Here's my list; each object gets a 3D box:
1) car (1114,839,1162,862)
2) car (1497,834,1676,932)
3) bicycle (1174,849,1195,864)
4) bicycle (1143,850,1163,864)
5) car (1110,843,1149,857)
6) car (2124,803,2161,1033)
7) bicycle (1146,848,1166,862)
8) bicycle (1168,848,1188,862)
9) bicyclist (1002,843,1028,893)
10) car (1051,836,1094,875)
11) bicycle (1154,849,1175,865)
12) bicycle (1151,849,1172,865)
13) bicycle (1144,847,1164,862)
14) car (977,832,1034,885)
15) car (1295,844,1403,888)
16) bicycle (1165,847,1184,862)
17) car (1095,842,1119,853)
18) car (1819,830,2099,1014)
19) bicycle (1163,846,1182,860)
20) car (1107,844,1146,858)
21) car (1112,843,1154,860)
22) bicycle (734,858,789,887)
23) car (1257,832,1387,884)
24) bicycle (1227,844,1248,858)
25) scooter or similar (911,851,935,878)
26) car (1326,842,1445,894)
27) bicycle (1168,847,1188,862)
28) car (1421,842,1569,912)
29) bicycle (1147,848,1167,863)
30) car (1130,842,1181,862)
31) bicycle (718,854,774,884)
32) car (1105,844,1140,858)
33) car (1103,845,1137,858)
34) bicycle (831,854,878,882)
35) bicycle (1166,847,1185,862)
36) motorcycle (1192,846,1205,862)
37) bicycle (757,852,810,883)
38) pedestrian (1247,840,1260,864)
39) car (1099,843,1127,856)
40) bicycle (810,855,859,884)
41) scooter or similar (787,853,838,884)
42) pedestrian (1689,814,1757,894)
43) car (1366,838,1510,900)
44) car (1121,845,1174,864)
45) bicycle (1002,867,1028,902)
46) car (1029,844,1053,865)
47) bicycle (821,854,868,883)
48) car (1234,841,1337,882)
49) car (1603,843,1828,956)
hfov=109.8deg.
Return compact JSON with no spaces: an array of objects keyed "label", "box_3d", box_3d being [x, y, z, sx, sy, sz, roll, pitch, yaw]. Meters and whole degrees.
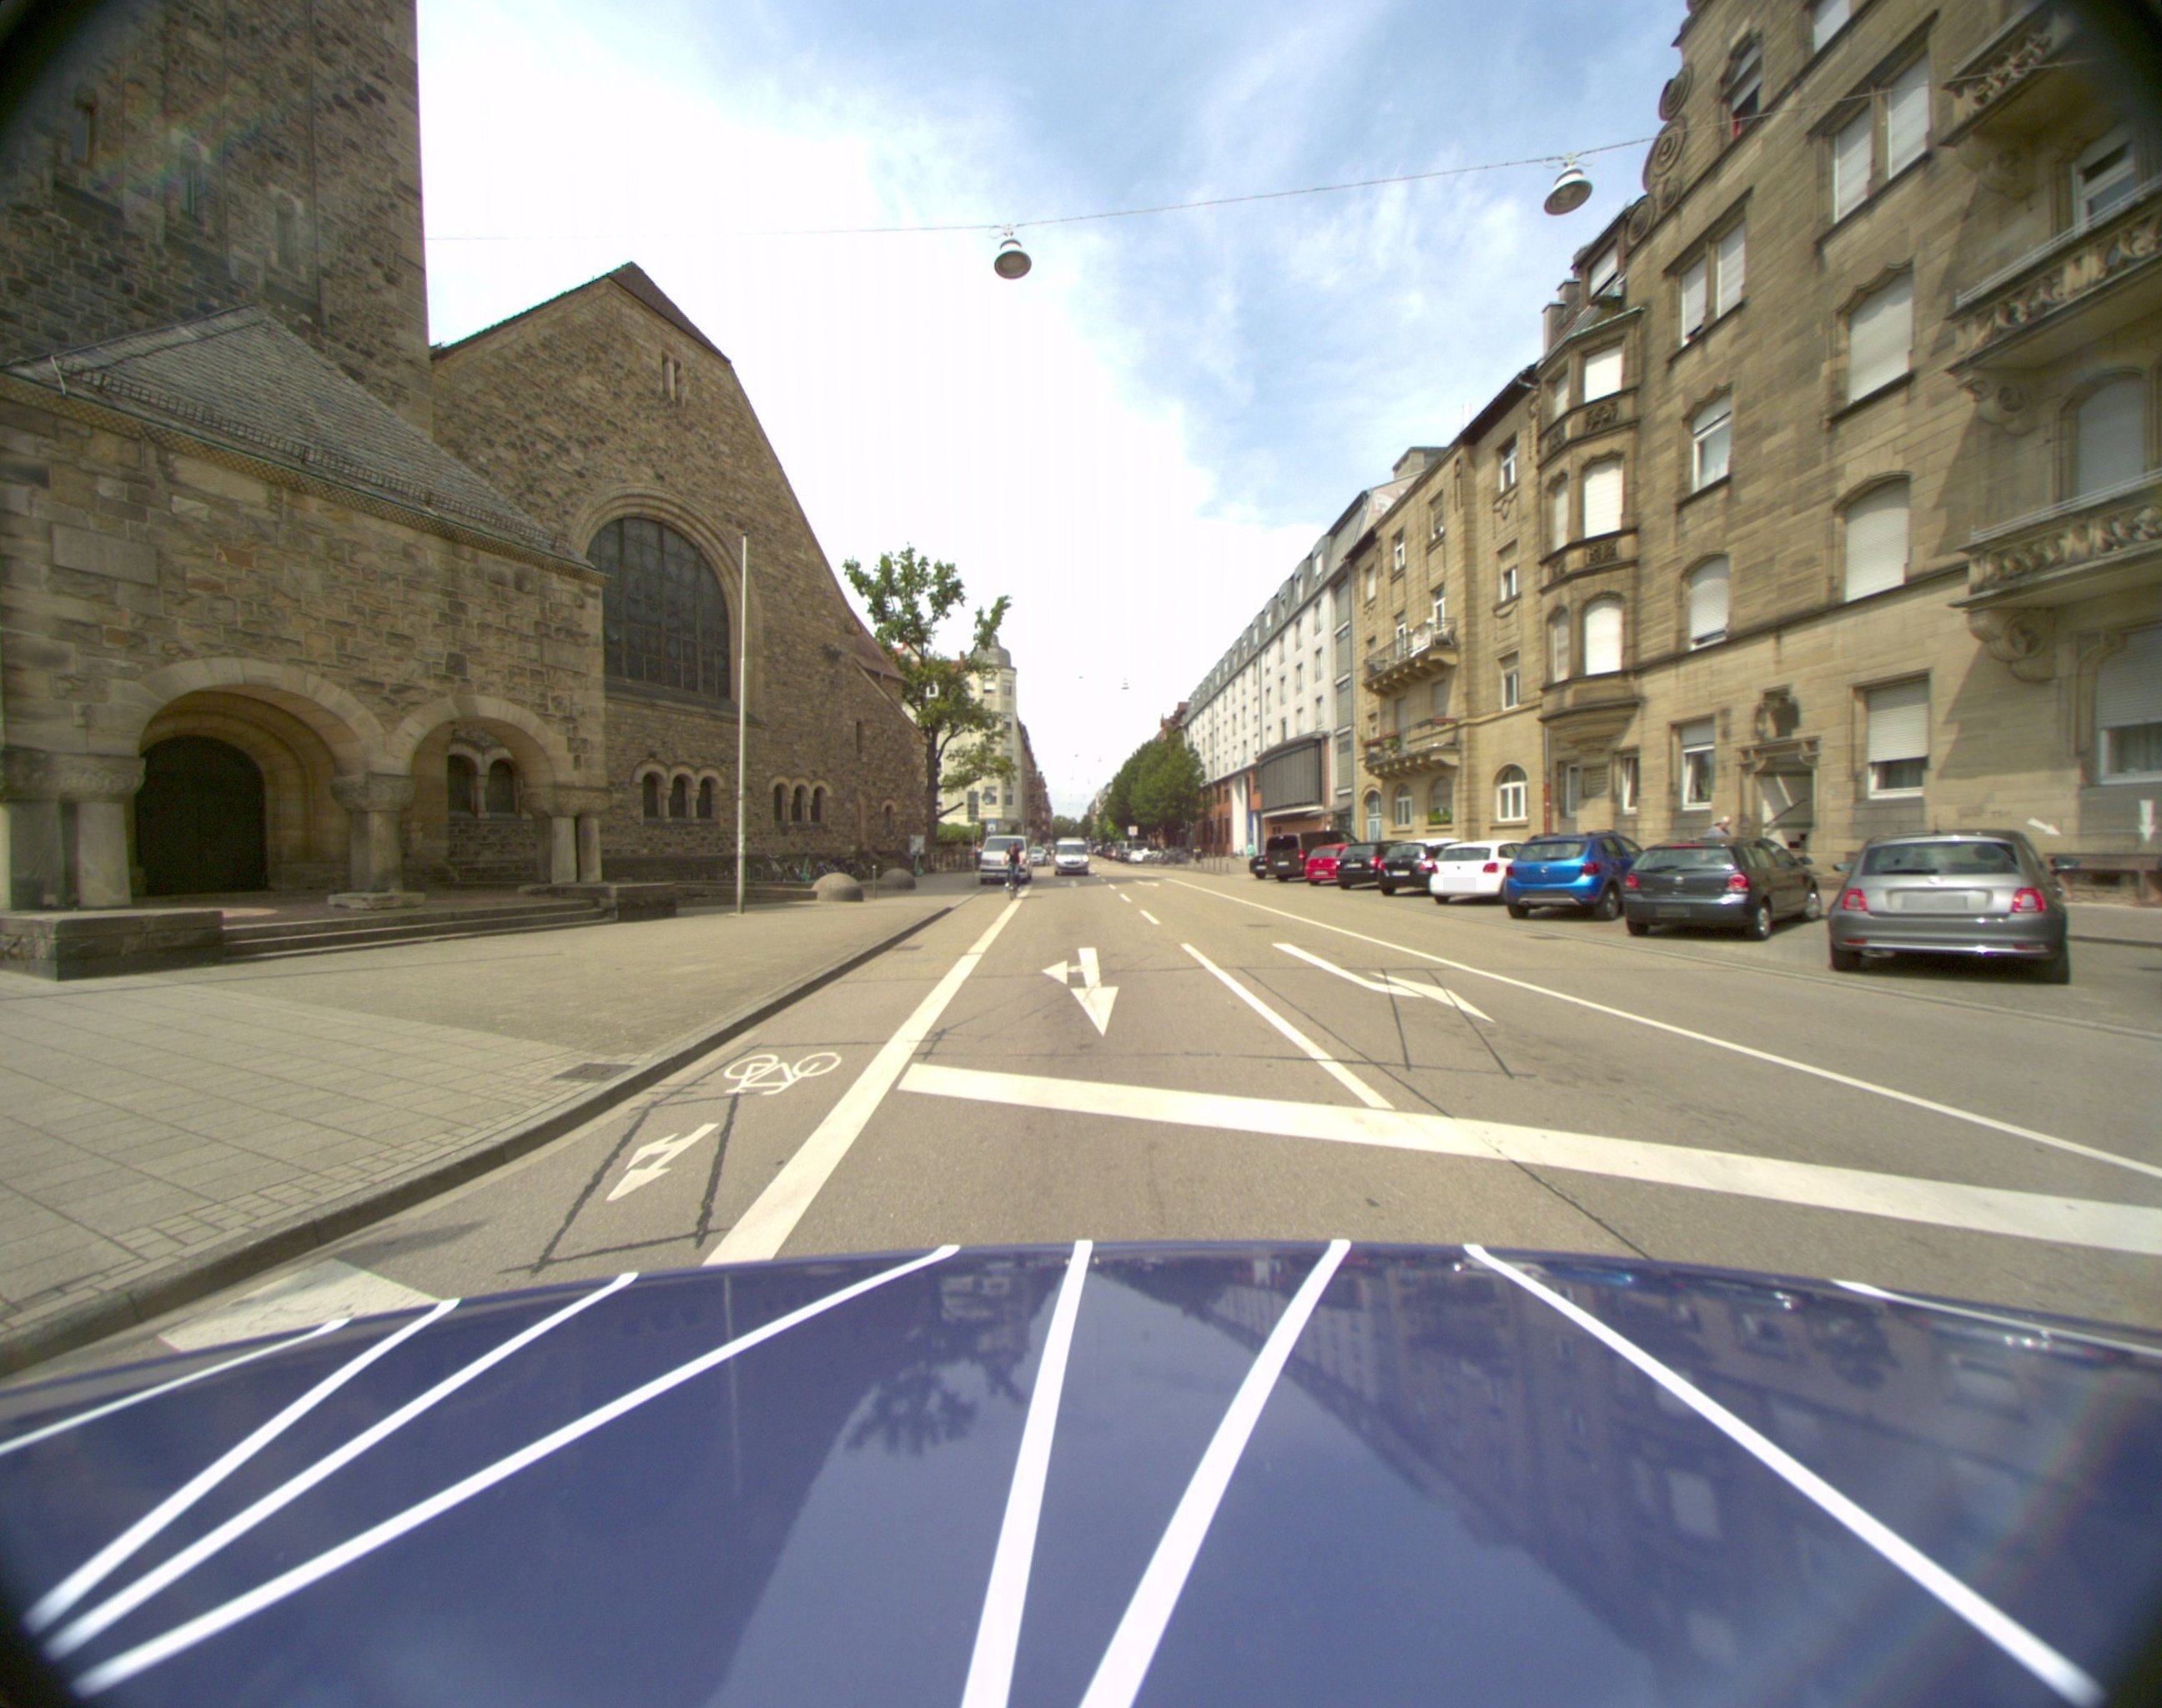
[{"label":"car","box_3d":[5.286,-0.330,70.505,4.011,1.987,1.857,-3,2,-32]},{"label":"car","box_3d":[9.859,0.461,14.737,3.785,1.642,1.720,-2,1,-37]},{"label":"bicycle","box_3d":[7.350,0.196,53.984,1.409,1.020,0.401,-2,1,1]},{"label":"bicycle","box_3d":[5.614,0.217,59.299,1.409,1.020,0.401,-3,1,1]},{"label":"car","box_3d":[5.193,-0.431,81.681,4.012,1.381,1.592,-2,0,-34]},{"label":"car","box_3d":[10.141,0.497,6.124,4.020,1.868,1.791,-2,1,-39]},{"label":"bicycle","box_3d":[5.623,0.081,57.215,1.409,1.020,0.401,-3,1,1]},{"label":"bicycle","box_3d":[7.133,0.065,55.757,1.409,1.020,0.401,-2,1,1]},{"label":"bicyclist","box_3d":[-1.928,0.390,22.281,0.649,1.409,1.094,-1,1,0]},{"label":"car","box_3d":[-0.411,0.088,39.993,1.942,1.913,4.006,-1,0,3]},{"label":"bicycle","box_3d":[5.873,0.196,53.684,1.409,1.032,0.401,-3,1,1]},{"label":"bicycle","box_3d":[5.796,0.213,54.577,1.409,1.032,0.401,-3,1,1]},{"label":"bicycle","box_3d":[5.612,0.051,58.487,1.409,1.020,0.401,-3,1,1]},{"label":"car","box_3d":[-3.014,0.163,31.378,2.020,2.017,5.122,0,0,-2]},{"label":"car","box_3d":[9.568,0.372,26.981,4.020,1.401,1.791,-2,1,-40]},{"label":"bicycle","box_3d":[7.079,0.036,57.545,1.409,1.020,0.401,-2,1,1]},{"label":"car","box_3d":[4.523,-1.154,132.226,4.012,1.746,1.687,-2,0,-34]},{"label":"car","box_3d":[10.043,0.564,8.745,4.020,1.642,1.791,-2,1,-40]},{"label":"bicycle","box_3d":[7.109,-0.088,58.827,1.409,1.020,0.401,-2,1,1]},{"label":"car","box_3d":[5.046,-0.355,83.892,4.012,1.445,1.687,-2,0,-34]},{"label":"car","box_3d":[5.230,-0.223,76.397,4.012,1.605,1.708,-2,0,-34]},{"label":"bicycle","box_3d":[-10.986,0.631,26.129,1.778,0.952,0.546,0,1,18]},{"label":"car","box_3d":[9.635,0.109,30.193,5.280,1.899,2.116,-2,1,-35]},{"label":"bicycle","box_3d":[12.740,-0.239,61.982,1.613,0.921,0.932,-6,0,11]},{"label":"scooter or similar","box_3d":[-7.308,0.482,35.205,0.545,1.200,1.444,0,1,12]},{"label":"car","box_3d":[9.776,0.399,24.291,4.004,1.494,1.627,-2,1,-36]},{"label":"bicycle","box_3d":[7.190,0.045,56.243,1.409,1.020,0.401,-2,1,1]},{"label":"car","box_3d":[10.003,0.493,18.275,3.692,1.473,1.737,-2,1,-37]},{"label":"bicycle","box_3d":[5.639,0.122,56.574,1.409,1.032,0.401,-3,1,1]},{"label":"car","box_3d":[6.125,-0.199,62.341,4.013,1.536,1.598,-2,1,-35]},{"label":"bicycle","box_3d":[-11.248,0.495,25.500,1.778,0.952,0.546,2,2,18]},{"label":"car","box_3d":[5.071,-0.345,92.233,4.012,1.559,1.687,-2,0,-34]},{"label":"car","box_3d":[4.885,-0.344,94.682,4.012,1.559,1.687,-2,0,-34]},{"label":"bicycle","box_3d":[-9.083,0.569,30.444,1.778,1.105,0.546,0,1,18]},{"label":"bicycle","box_3d":[7.089,0.039,57.059,1.409,1.020,0.401,-2,1,1]},{"label":"motorcycle","box_3d":[8.427,-0.003,54.573,0.585,1.166,1.779,-3,1,1]},{"label":"bicycle","box_3d":[-10.563,0.475,26.986,1.778,1.105,0.546,0,1,18]},{"label":"pedestrian","box_3d":[10.939,-0.143,48.137,0.662,1.477,0.509,-1,1,-6]},{"label":"car","box_3d":[4.834,-0.707,114.127,4.012,1.847,1.687,-2,0,-34]},{"label":"bicycle","box_3d":[-9.488,0.596,29.242,1.778,1.105,0.546,0,1,18]},{"label":"scooter or similar","box_3d":[-9.944,0.539,28.128,1.778,1.133,0.546,0,1,18]},{"label":"pedestrian","box_3d":[13.321,0.001,15.781,0.793,1.586,0.678,-3,2,-1]},{"label":"car","box_3d":[10.035,0.356,21.293,4.019,1.555,1.792,-2,1,-33]},{"label":"car","box_3d":[5.658,0.046,64.655,4.324,1.461,1.713,-2,1,-34]},{"label":"bicycle","box_3d":[-1.905,0.875,22.247,0.586,0.927,1.783,-1,0,0]},{"label":"car","box_3d":[-2.973,0.013,57.178,1.760,1.460,4.417,-1,0,-2]},{"label":"bicycle","box_3d":[-9.273,0.551,29.821,1.771,1.105,0.546,0,1,18]},{"label":"car","box_3d":[8.914,0.319,32.980,4.679,1.401,1.895,-5,1,-39]},{"label":"car","box_3d":[10.015,0.589,11.922,3.910,1.435,1.832,-2,1,-36]}]
